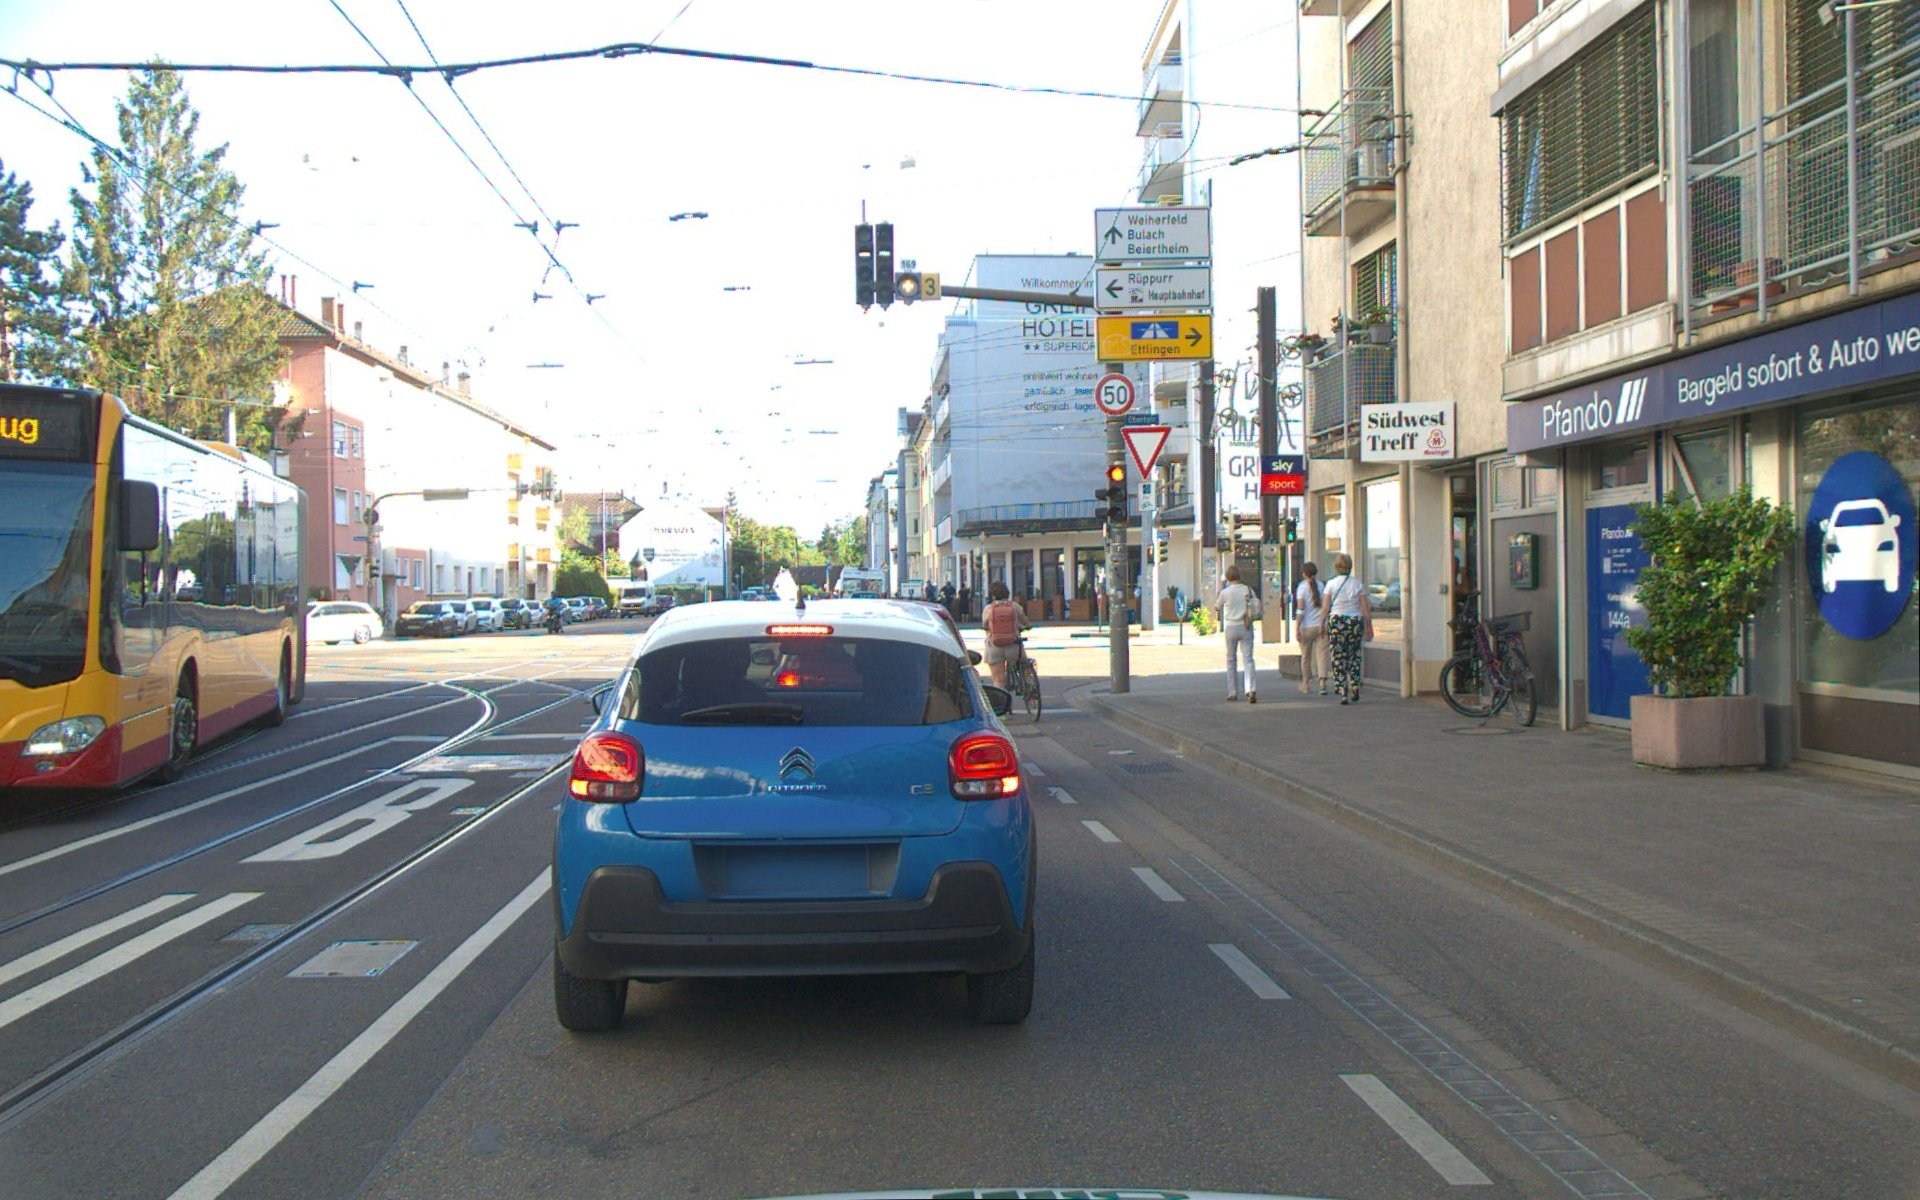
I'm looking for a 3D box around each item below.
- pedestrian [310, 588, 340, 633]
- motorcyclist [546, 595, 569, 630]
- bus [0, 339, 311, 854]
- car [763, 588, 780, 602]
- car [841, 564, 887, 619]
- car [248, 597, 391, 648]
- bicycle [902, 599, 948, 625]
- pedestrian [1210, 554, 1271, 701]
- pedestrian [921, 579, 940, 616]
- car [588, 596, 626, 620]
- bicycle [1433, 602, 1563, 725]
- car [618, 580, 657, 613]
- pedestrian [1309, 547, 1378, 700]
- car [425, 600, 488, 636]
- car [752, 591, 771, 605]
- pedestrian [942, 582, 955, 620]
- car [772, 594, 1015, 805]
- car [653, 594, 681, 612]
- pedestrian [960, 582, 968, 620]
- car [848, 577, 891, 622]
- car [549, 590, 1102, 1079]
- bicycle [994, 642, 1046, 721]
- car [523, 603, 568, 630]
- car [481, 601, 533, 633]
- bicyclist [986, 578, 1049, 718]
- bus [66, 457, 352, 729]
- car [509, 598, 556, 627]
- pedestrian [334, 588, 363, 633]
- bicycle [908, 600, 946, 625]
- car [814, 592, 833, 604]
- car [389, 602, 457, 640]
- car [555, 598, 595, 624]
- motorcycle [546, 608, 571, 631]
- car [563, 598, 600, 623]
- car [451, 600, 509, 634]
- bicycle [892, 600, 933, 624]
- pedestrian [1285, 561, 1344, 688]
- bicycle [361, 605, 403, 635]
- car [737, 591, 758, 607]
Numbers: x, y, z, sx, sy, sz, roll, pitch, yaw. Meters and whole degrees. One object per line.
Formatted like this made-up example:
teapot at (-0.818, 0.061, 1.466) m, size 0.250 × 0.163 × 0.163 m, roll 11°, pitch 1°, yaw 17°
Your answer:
pedestrian at (-24.366, 0.407, 63.453) m, size 0.826 × 1.720 × 0.737 m, roll -1°, pitch 0°, yaw 2°
motorcyclist at (-16.281, 0.505, 66.893) m, size 0.704 × 1.402 × 0.911 m, roll -1°, pitch 0°, yaw -1°
bus at (-7.941, -0.021, 15.045) m, size 2.678 × 3.213 × 10.152 m, roll -1°, pitch 0°, yaw -15°
car at (-24.549, -0.619, 215.144) m, size 1.957 × 1.713 × 3.990 m, roll -2°, pitch 0°, yaw -10°
car at (-4.230, -0.360, 72.410) m, size 1.954 × 2.366 × 3.997 m, roll 0°, pitch 0°, yaw -4°
car at (-21.606, 0.722, 55.953) m, size 1.815 × 1.601 × 4.394 m, roll -1°, pitch 0°, yaw 29°
bicycle at (-1.424, 0.489, 67.065) m, size 1.835 × 0.973 × 0.702 m, roll -1°, pitch 0°, yaw 0°
pedestrian at (3.355, 0.318, 19.819) m, size 0.530 × 1.701 × 0.624 m, roll -3°, pitch 2°, yaw -3°
pedestrian at (-1.315, -0.111, 73.370) m, size 0.641 × 1.583 × 0.486 m, roll -1°, pitch 0°, yaw -38°
car at (-25.836, 0.539, 121.204) m, size 1.990 × 1.647 × 4.508 m, roll -1°, pitch 0°, yaw -3°
bicycle at (5.109, 0.572, 15.805) m, size 0.520 × 1.091 × 1.809 m, roll -1°, pitch 0°, yaw -4°
car at (-23.166, -0.266, 119.050) m, size 2.164 × 2.290 × 4.672 m, roll -1°, pitch 0°, yaw -5°
pedestrian at (4.386, 0.259, 18.950) m, size 0.530 × 1.701 × 0.650 m, roll -3°, pitch 0°, yaw -3°
car at (-22.574, 0.779, 74.220) m, size 1.874 × 1.523 × 3.996 m, roll -1°, pitch 0°, yaw -5°
car at (-22.450, -0.267, 186.918) m, size 1.982 × 1.552 × 3.996 m, roll -1°, pitch 1°, yaw -5°
pedestrian at (-0.497, 0.033, 69.940) m, size 0.482 × 1.583 × 0.383 m, roll -1°, pitch 0°, yaw -4°
car at (-0.500, 0.698, 13.726) m, size 1.703 × 1.445 × 3.999 m, roll -1°, pitch 0°, yaw -1°
car at (-25.552, 0.232, 144.373) m, size 1.982 × 1.552 × 3.996 m, roll -1°, pitch 0°, yaw -5°
pedestrian at (0.182, 0.036, 70.183) m, size 0.279 × 1.583 × 0.304 m, roll -1°, pitch 0°, yaw -10°
car at (-3.727, -0.006, 67.503) m, size 1.698 × 1.780 × 3.211 m, roll 0°, pitch 0°, yaw -4°
car at (-0.631, 0.706, 7.133) m, size 1.710 × 1.488 × 3.994 m, roll 0°, pitch 0°, yaw -7°
bicycle at (0.735, 0.998, 20.694) m, size 0.489 × 0.879 × 1.748 m, roll -1°, pitch 0°, yaw -3°
car at (-24.359, 0.953, 97.307) m, size 1.874 × 1.523 × 3.996 m, roll -1°, pitch 0°, yaw -5°
car at (-23.402, 0.860, 85.612) m, size 1.874 × 1.523 × 3.996 m, roll -1°, pitch 0°, yaw -5°
bicyclist at (0.698, 0.577, 20.335) m, size 0.711 × 1.674 × 0.790 m, roll -1°, pitch 0°, yaw -1°
bus at (-10.359, -0.125, 23.575) m, size 2.695 × 3.217 × 7.541 m, roll -1°, pitch 0°, yaw -17°
car at (-23.689, 0.684, 91.745) m, size 1.874 × 1.523 × 3.996 m, roll -1°, pitch 0°, yaw -5°
pedestrian at (-23.507, 0.405, 63.587) m, size 0.826 × 1.720 × 0.737 m, roll -1°, pitch 0°, yaw 2°
bicycle at (-1.318, 0.490, 66.007) m, size 1.473 × 0.973 × 0.702 m, roll -1°, pitch 0°, yaw 0°
car at (-14.546, -0.246, 176.084) m, size 1.722 × 1.281 × 3.826 m, roll -1°, pitch 0°, yaw -8°
car at (-22.210, 0.862, 68.499) m, size 1.874 × 1.458 × 3.995 m, roll -1°, pitch 0°, yaw -6°
car at (-24.569, 0.691, 105.707) m, size 1.874 × 1.523 × 3.996 m, roll -1°, pitch 0°, yaw -5°
motorcycle at (-16.288, 0.797, 67.048) m, size 0.603 × 0.879 × 1.670 m, roll -1°, pitch 0°, yaw -1°
car at (-25.300, 0.692, 110.694) m, size 1.874 × 1.523 × 3.996 m, roll -1°, pitch 0°, yaw -5°
car at (-22.856, 0.802, 78.839) m, size 1.874 × 1.523 × 3.996 m, roll -1°, pitch 0°, yaw -5°
bicycle at (-1.960, 0.493, 68.415) m, size 1.684 × 0.973 × 0.702 m, roll -1°, pitch 0°, yaw 0°
pedestrian at (4.422, 0.298, 20.654) m, size 0.530 × 1.534 × 0.611 m, roll -3°, pitch 2°, yaw -3°
bicycle at (-25.582, 0.855, 73.291) m, size 0.831 × 1.247 × 3.302 m, roll -1°, pitch 0°, yaw -3°
car at (-21.696, -0.115, 169.090) m, size 1.982 × 1.552 × 3.996 m, roll -1°, pitch 0°, yaw -5°
